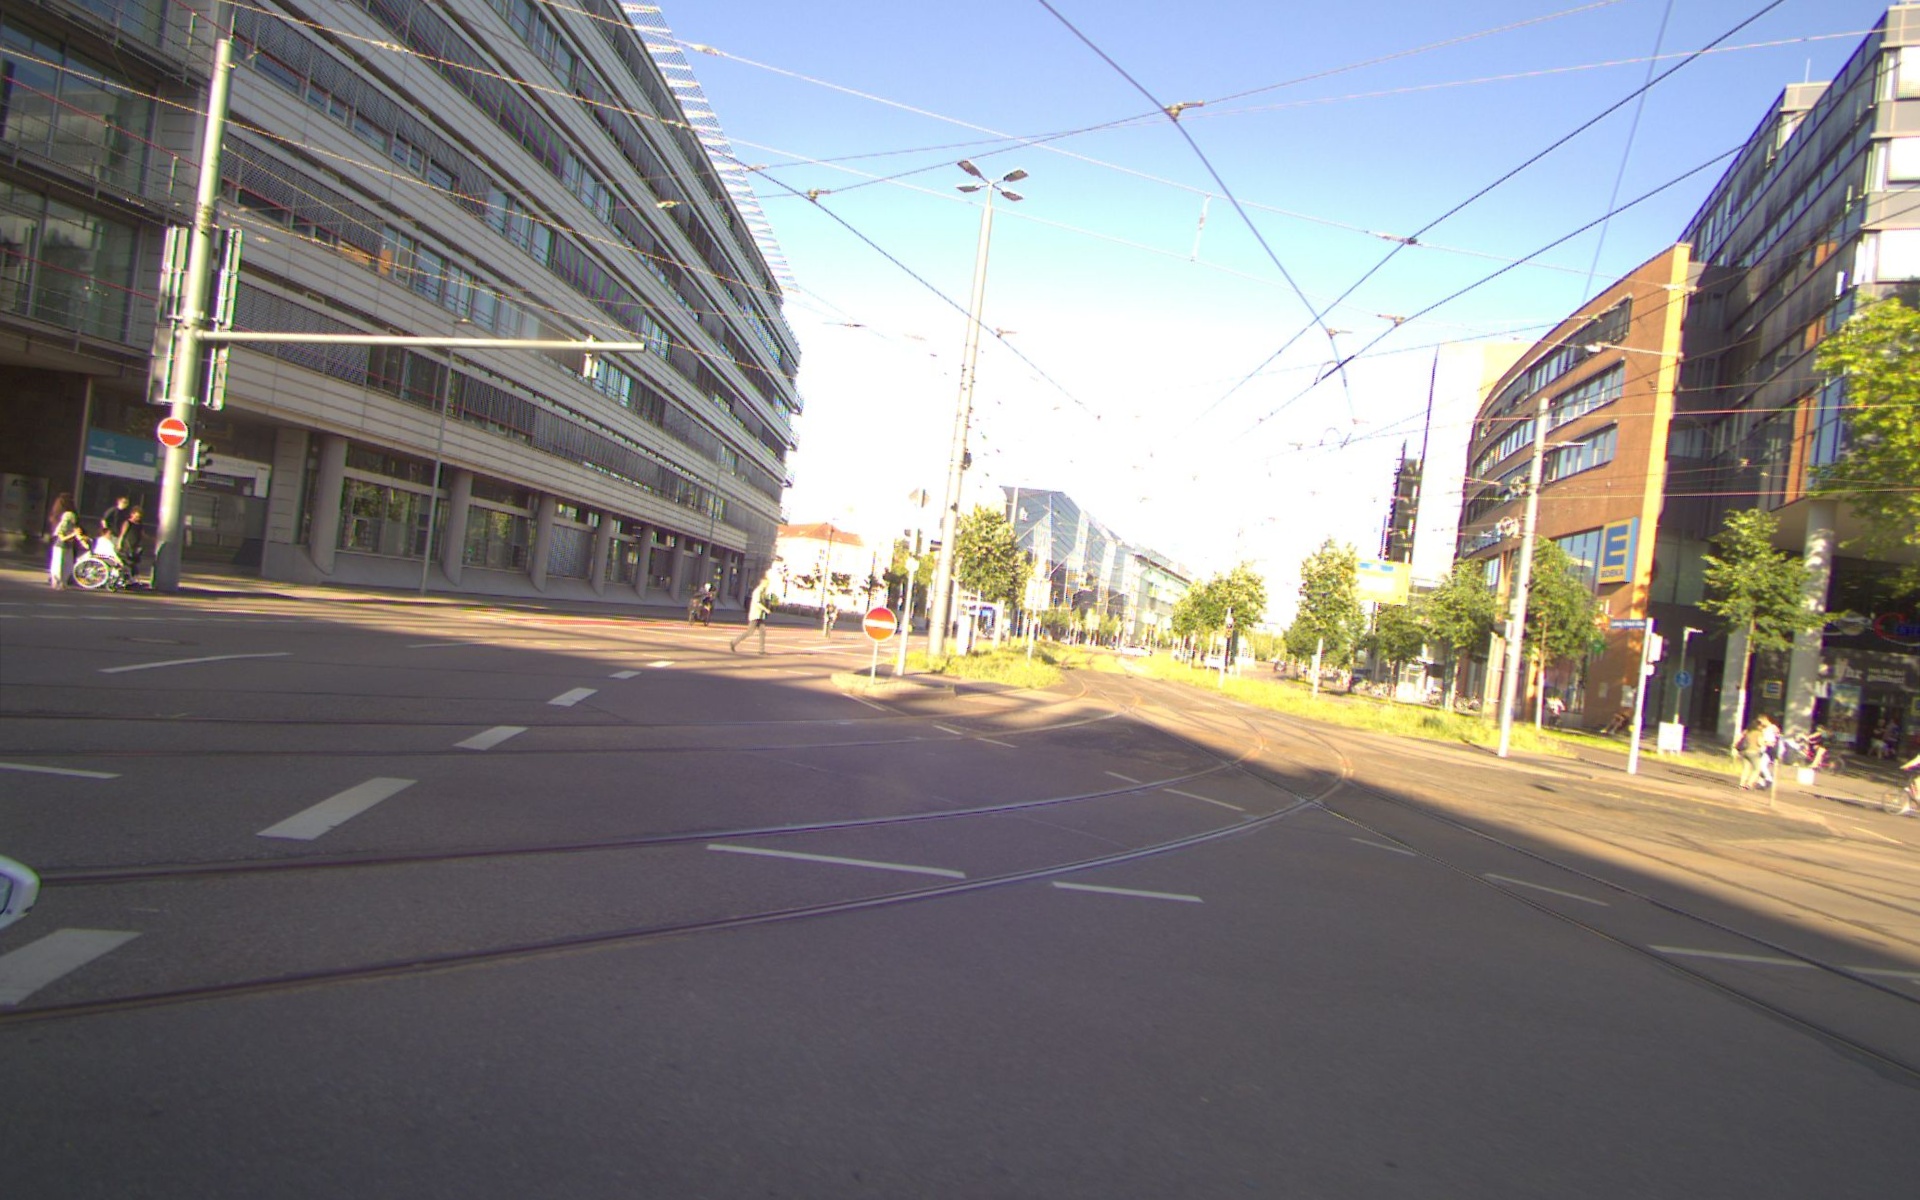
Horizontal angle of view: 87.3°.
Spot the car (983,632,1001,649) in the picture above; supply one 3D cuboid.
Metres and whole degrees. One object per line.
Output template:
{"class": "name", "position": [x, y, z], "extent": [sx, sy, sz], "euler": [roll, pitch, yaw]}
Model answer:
{"class": "car", "position": [3.815, 4.804, 119.537], "extent": [1.740, 1.745, 3.908], "euler": [8, 0, 4]}

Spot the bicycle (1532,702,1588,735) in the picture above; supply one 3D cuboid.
{"class": "bicycle", "position": [28.193, 5.536, 47.372], "extent": [1.023, 1.146, 3.182], "euler": [8, -1, 9]}

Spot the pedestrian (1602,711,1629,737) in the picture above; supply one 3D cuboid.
{"class": "pedestrian", "position": [30.533, 5.772, 46.877], "extent": [0.771, 1.070, 0.814], "euler": [7, 0, 18]}

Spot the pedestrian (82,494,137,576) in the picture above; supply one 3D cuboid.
{"class": "pedestrian", "position": [-19.041, -1.443, 22.541], "extent": [0.638, 1.736, 0.685], "euler": [7, 0, -26]}

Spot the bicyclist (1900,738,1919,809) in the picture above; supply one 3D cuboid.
{"class": "bicyclist", "position": [21.562, 3.892, 22.315], "extent": [0.731, 1.521, 0.570], "euler": [7, 0, 6]}

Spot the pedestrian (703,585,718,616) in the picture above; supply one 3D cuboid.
{"class": "pedestrian", "position": [-14.850, 0.022, 59.795], "extent": [0.540, 1.755, 0.641], "euler": [7, 1, 1]}

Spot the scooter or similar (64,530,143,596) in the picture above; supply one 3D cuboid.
{"class": "scooter or similar", "position": [-16.747, -0.725, 19.690], "extent": [1.009, 1.143, 0.545], "euler": [7, 0, -34]}

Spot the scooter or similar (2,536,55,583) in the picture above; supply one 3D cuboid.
{"class": "scooter or similar", "position": [-18.396, -0.801, 19.882], "extent": [0.612, 0.800, 0.653], "euler": [9, -1, -36]}

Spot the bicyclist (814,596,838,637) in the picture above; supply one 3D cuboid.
{"class": "bicyclist", "position": [-5.951, 0.736, 44.676], "extent": [0.752, 1.687, 0.993], "euler": [7, 0, -3]}

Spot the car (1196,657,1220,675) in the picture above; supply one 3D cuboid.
{"class": "car", "position": [25.163, 6.694, 102.063], "extent": [1.871, 1.525, 4.005], "euler": [8, -1, 10]}

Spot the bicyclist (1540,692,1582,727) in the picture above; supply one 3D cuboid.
{"class": "bicyclist", "position": [28.126, 5.107, 47.144], "extent": [1.023, 1.398, 1.565], "euler": [7, 0, 9]}

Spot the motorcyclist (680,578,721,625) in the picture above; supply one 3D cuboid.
{"class": "motorcyclist", "position": [-10.680, 0.087, 41.395], "extent": [1.003, 1.752, 1.461], "euler": [7, 0, 6]}

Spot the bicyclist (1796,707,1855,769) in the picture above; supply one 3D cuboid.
{"class": "bicyclist", "position": [30.468, 4.863, 35.426], "extent": [1.210, 1.955, 0.833], "euler": [7, 0, -12]}

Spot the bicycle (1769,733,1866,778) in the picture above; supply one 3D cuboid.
{"class": "bicycle", "position": [30.195, 5.470, 35.425], "extent": [3.001, 1.127, 0.833], "euler": [8, 0, -12]}

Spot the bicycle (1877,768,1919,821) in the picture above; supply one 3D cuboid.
{"class": "bicycle", "position": [21.438, 4.386, 22.284], "extent": [1.602, 1.033, 0.517], "euler": [7, 0, 6]}

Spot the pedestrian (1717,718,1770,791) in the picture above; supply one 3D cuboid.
{"class": "pedestrian", "position": [18.608, 3.661, 23.901], "extent": [0.647, 1.602, 0.489], "euler": [7, 1, -1]}

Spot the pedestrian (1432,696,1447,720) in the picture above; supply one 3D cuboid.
{"class": "pedestrian", "position": [33.458, 7.531, 70.181], "extent": [0.694, 1.589, 0.623], "euler": [7, 1, 15]}

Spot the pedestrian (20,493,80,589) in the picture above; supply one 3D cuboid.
{"class": "pedestrian", "position": [-17.384, -1.123, 19.232], "extent": [0.632, 1.729, 0.576], "euler": [7, 0, -34]}

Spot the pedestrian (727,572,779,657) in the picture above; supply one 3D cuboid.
{"class": "pedestrian", "position": [-4.787, 0.346, 23.276], "extent": [0.869, 1.845, 0.677], "euler": [6, 0, 0]}

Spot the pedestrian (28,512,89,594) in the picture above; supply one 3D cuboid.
{"class": "pedestrian", "position": [-16.622, -0.865, 18.561], "extent": [0.632, 1.419, 0.541], "euler": [7, 0, -34]}

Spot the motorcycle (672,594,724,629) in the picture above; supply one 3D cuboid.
{"class": "motorcycle", "position": [-10.737, 0.505, 41.396], "extent": [0.968, 1.246, 2.945], "euler": [7, -1, 6]}

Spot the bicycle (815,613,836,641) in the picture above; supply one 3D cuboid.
{"class": "bicycle", "position": [-5.960, 1.192, 44.611], "extent": [0.633, 1.121, 1.684], "euler": [7, 0, -3]}

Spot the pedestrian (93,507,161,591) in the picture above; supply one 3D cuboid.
{"class": "pedestrian", "position": [-17.426, -1.050, 21.057], "extent": [0.710, 1.637, 0.655], "euler": [7, 0, 4]}

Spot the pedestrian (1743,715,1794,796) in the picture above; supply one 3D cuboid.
{"class": "pedestrian", "position": [19.826, 3.801, 24.673], "extent": [0.690, 1.858, 0.514], "euler": [8, 0, 30]}

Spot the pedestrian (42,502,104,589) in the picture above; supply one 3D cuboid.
{"class": "pedestrian", "position": [-17.766, -1.088, 20.168], "extent": [0.698, 1.619, 0.653], "euler": [9, 0, -36]}

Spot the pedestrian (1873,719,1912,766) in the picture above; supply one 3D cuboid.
{"class": "pedestrian", "position": [40.616, 6.215, 43.842], "extent": [0.835, 1.874, 0.809], "euler": [10, 0, 29]}

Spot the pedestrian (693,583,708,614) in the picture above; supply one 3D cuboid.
{"class": "pedestrian", "position": [-15.427, -0.068, 59.801], "extent": [0.540, 1.755, 0.641], "euler": [7, 1, 1]}
